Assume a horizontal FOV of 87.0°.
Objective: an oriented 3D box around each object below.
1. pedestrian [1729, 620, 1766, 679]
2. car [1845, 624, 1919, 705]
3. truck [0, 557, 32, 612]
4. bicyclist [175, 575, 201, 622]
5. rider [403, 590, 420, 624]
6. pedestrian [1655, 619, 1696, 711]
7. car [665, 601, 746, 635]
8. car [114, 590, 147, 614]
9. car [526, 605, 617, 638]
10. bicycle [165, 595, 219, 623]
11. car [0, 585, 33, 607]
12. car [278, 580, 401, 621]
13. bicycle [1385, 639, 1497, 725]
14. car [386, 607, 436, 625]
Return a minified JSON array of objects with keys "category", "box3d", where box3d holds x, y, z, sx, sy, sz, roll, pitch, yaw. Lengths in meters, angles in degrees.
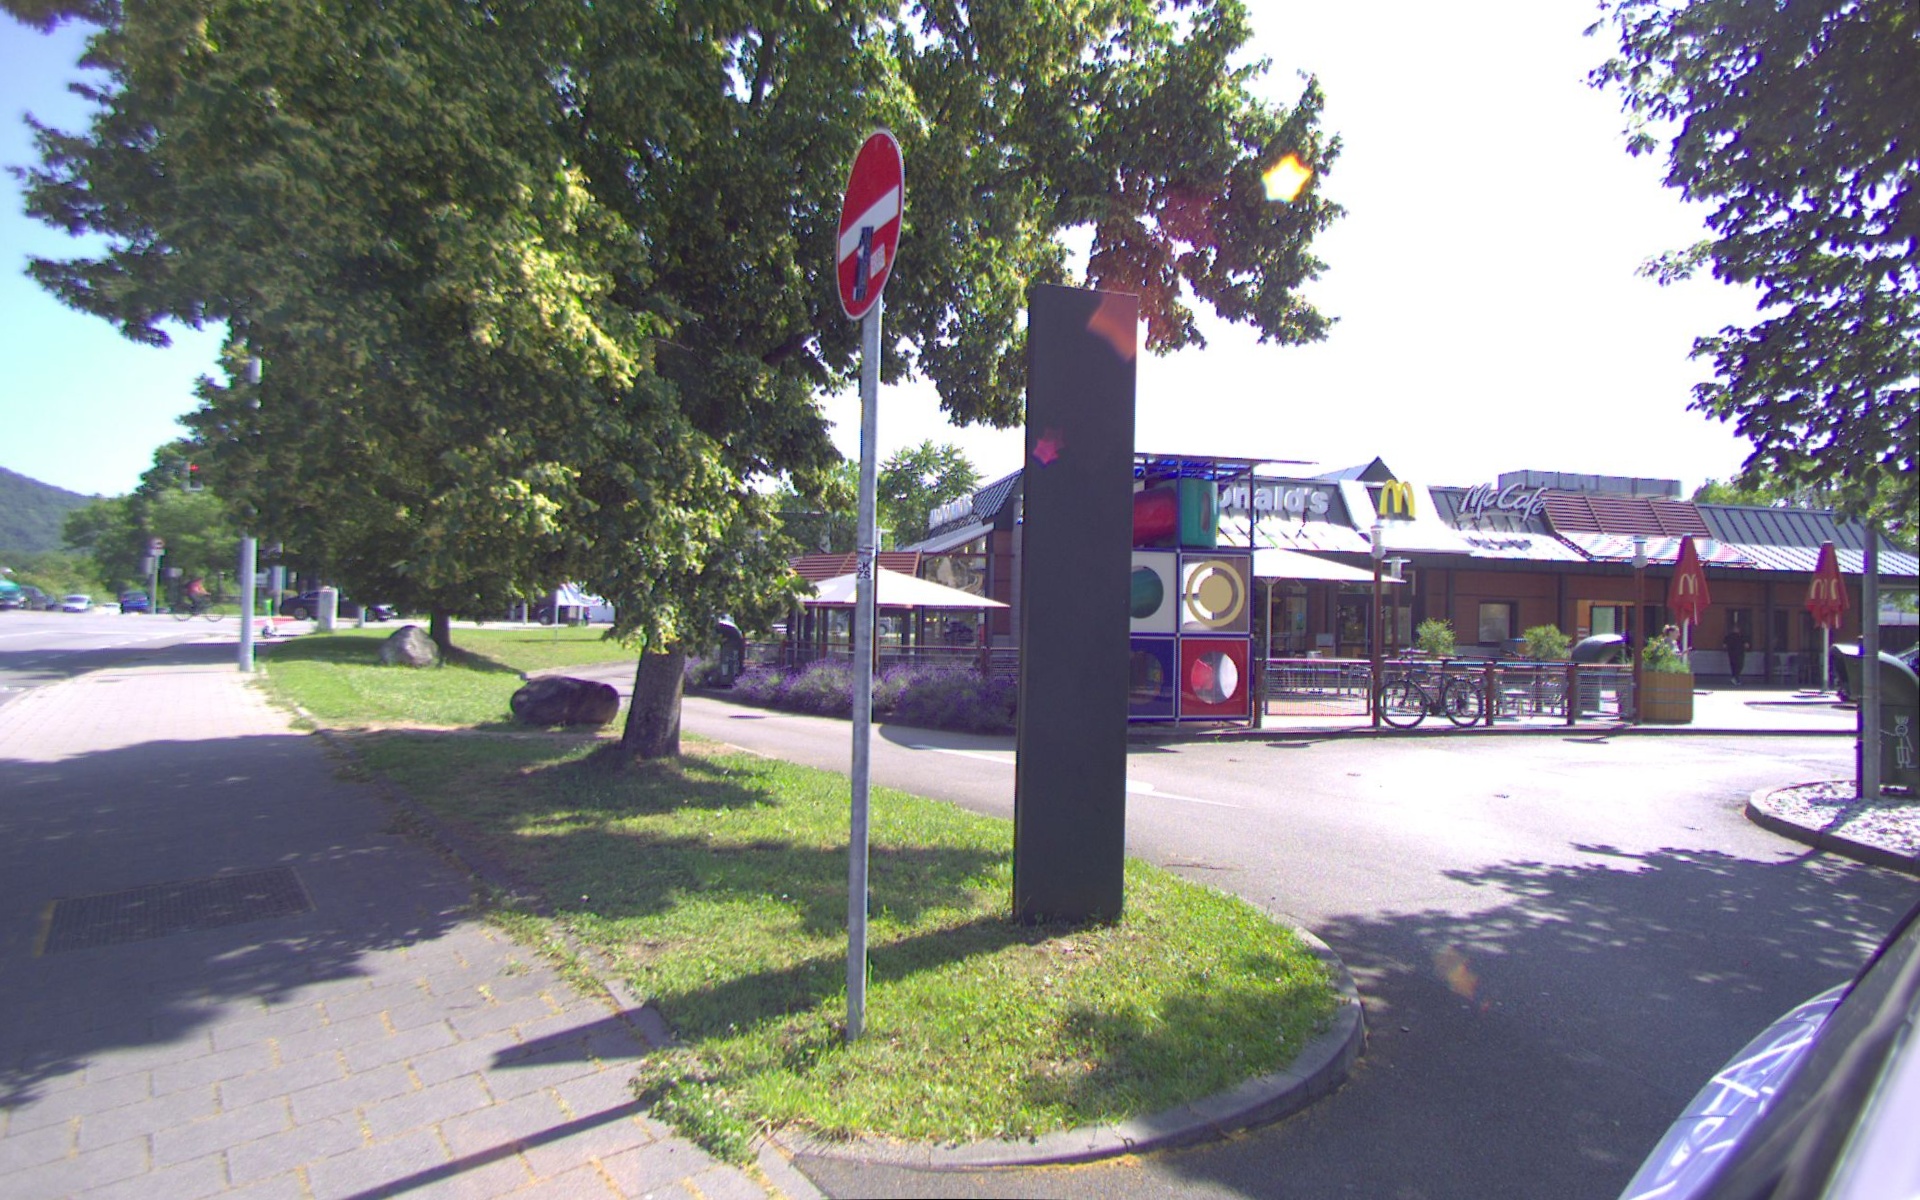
[{"category":"pedestrian","box3d":[22.743,1.433,29.234,0.610,1.672,0.543,2,-1,-12]},{"category":"car","box3d":[21.548,1.420,21.523,3.980,1.678,1.928,1,-1,39]},{"category":"truck","box3d":[-45.744,-0.773,44.907,6.254,2.406,2.389,2,-2,-13]},{"category":"bicyclist","box3d":[-31.917,-0.071,41.822,0.643,1.919,0.554,2,1,-12]},{"category":"rider","box3d":[-29.895,0.386,55.138,0.671,1.835,0.549,2,2,-13]},{"category":"pedestrian","box3d":[12.856,1.150,18.180,0.593,1.587,0.564,1,-1,37]},{"category":"car","box3d":[-14.076,1.012,56.211,4.279,1.646,1.836,2,2,-12]},{"category":"car","box3d":[-56.313,0.116,68.649,1.582,1.555,3.677,2,-1,-41]},{"category":"car","box3d":[-20.803,1.157,54.371,4.279,1.509,1.836,2,2,-12]},{"category":"bicycle","box3d":[-31.761,0.366,41.862,1.690,1.056,0.584,2,1,-11]},{"category":"car","box3d":[-56.280,-0.259,59.806,1.579,1.271,3.684,2,-1,-33]},{"category":"car","box3d":[-29.119,0.038,47.650,4.518,1.776,1.889,2,-1,-12]},{"category":"bicycle","box3d":[7.091,1.202,14.930,1.579,1.201,0.310,0,2,-9]},{"category":"car","box3d":[-29.911,0.866,55.141,2.333,0.913,0.577,2,2,-13]}]
